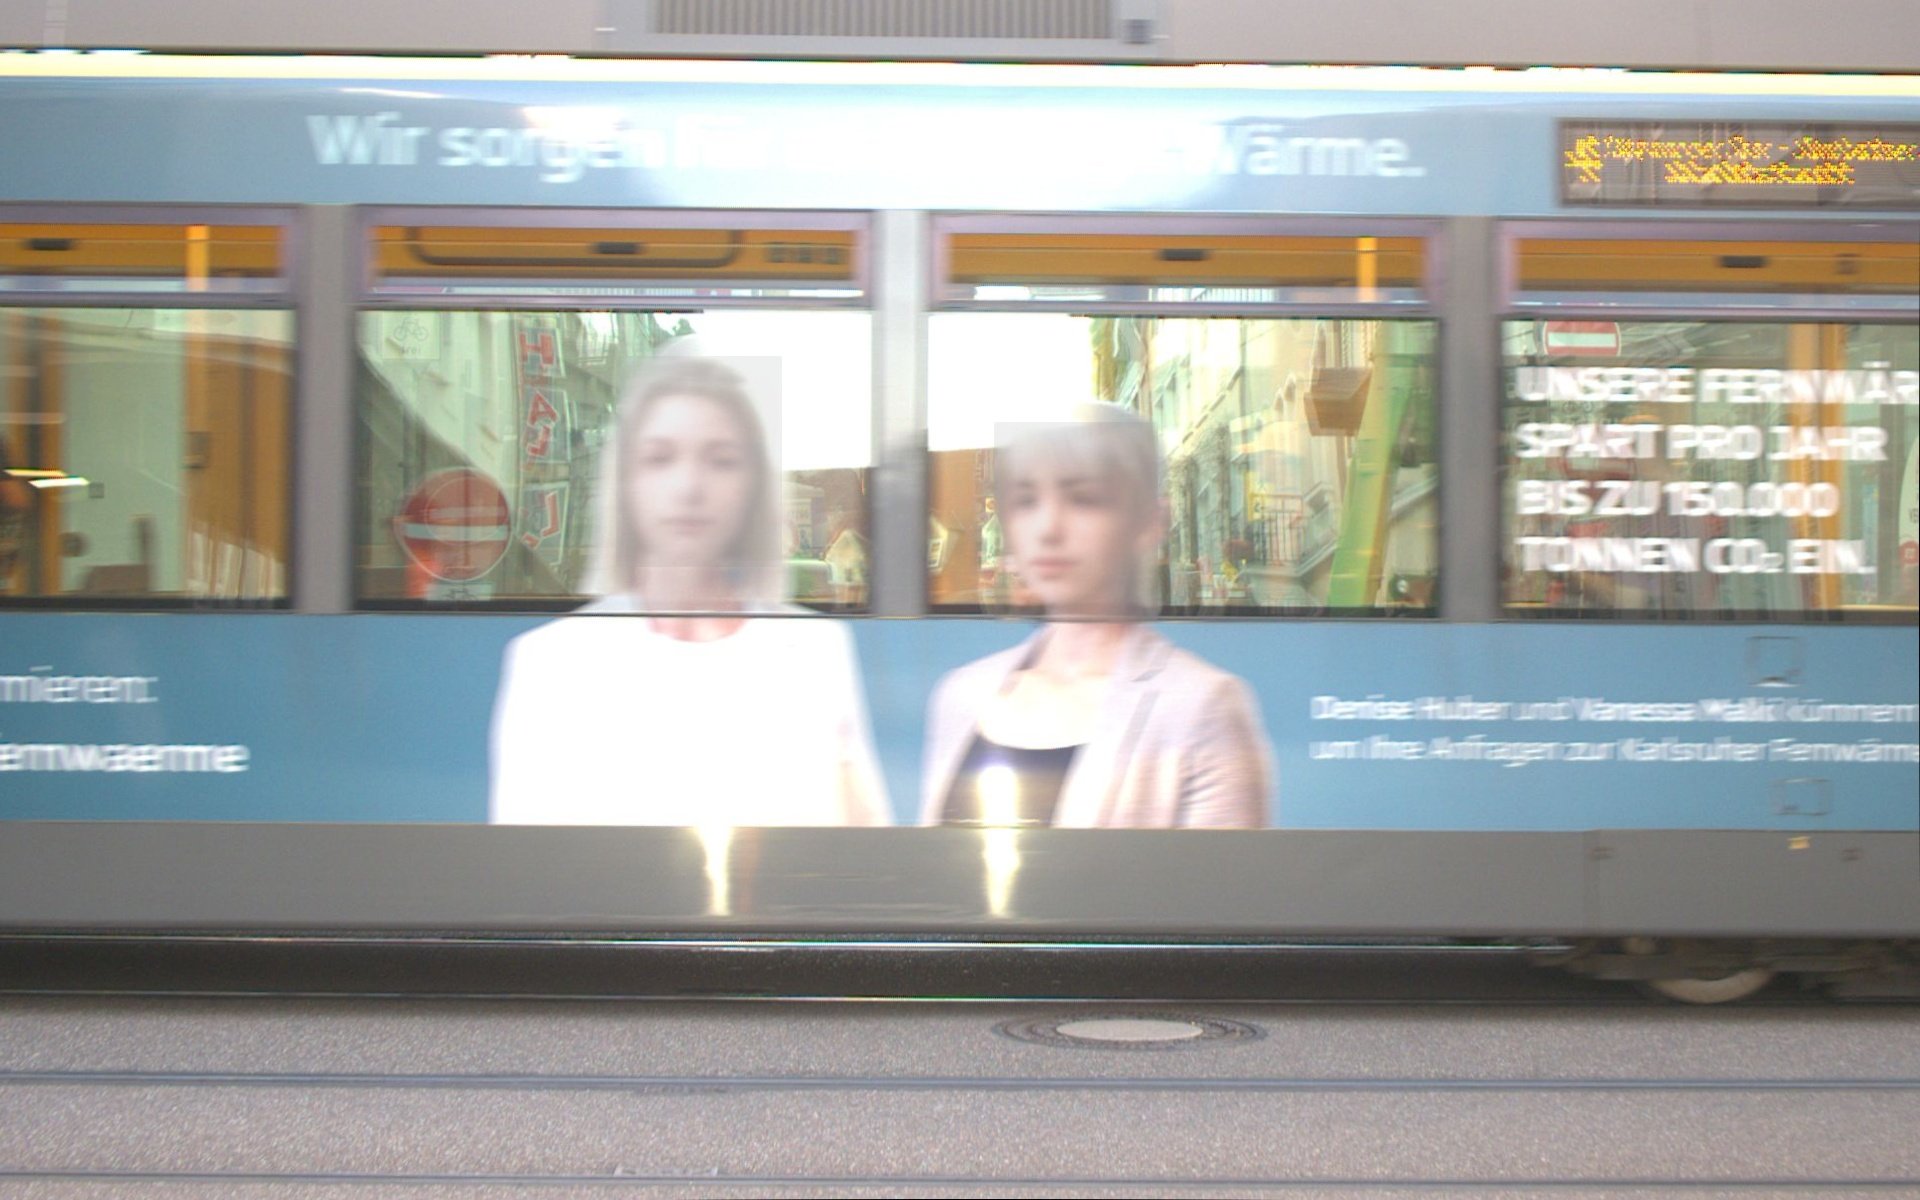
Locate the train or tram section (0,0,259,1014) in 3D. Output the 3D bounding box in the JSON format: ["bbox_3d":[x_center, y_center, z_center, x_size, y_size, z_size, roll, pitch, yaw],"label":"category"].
[{"bbox_3d":[-7.915,-0.531,11.908,10.367,3.512,3.017,0,0,-1],"label":"train or tram section"}]

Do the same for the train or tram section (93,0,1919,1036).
[{"bbox_3d":[2.493,-0.433,12.097,10.335,3.511,3.027,0,1,-1],"label":"train or tram section"}]
